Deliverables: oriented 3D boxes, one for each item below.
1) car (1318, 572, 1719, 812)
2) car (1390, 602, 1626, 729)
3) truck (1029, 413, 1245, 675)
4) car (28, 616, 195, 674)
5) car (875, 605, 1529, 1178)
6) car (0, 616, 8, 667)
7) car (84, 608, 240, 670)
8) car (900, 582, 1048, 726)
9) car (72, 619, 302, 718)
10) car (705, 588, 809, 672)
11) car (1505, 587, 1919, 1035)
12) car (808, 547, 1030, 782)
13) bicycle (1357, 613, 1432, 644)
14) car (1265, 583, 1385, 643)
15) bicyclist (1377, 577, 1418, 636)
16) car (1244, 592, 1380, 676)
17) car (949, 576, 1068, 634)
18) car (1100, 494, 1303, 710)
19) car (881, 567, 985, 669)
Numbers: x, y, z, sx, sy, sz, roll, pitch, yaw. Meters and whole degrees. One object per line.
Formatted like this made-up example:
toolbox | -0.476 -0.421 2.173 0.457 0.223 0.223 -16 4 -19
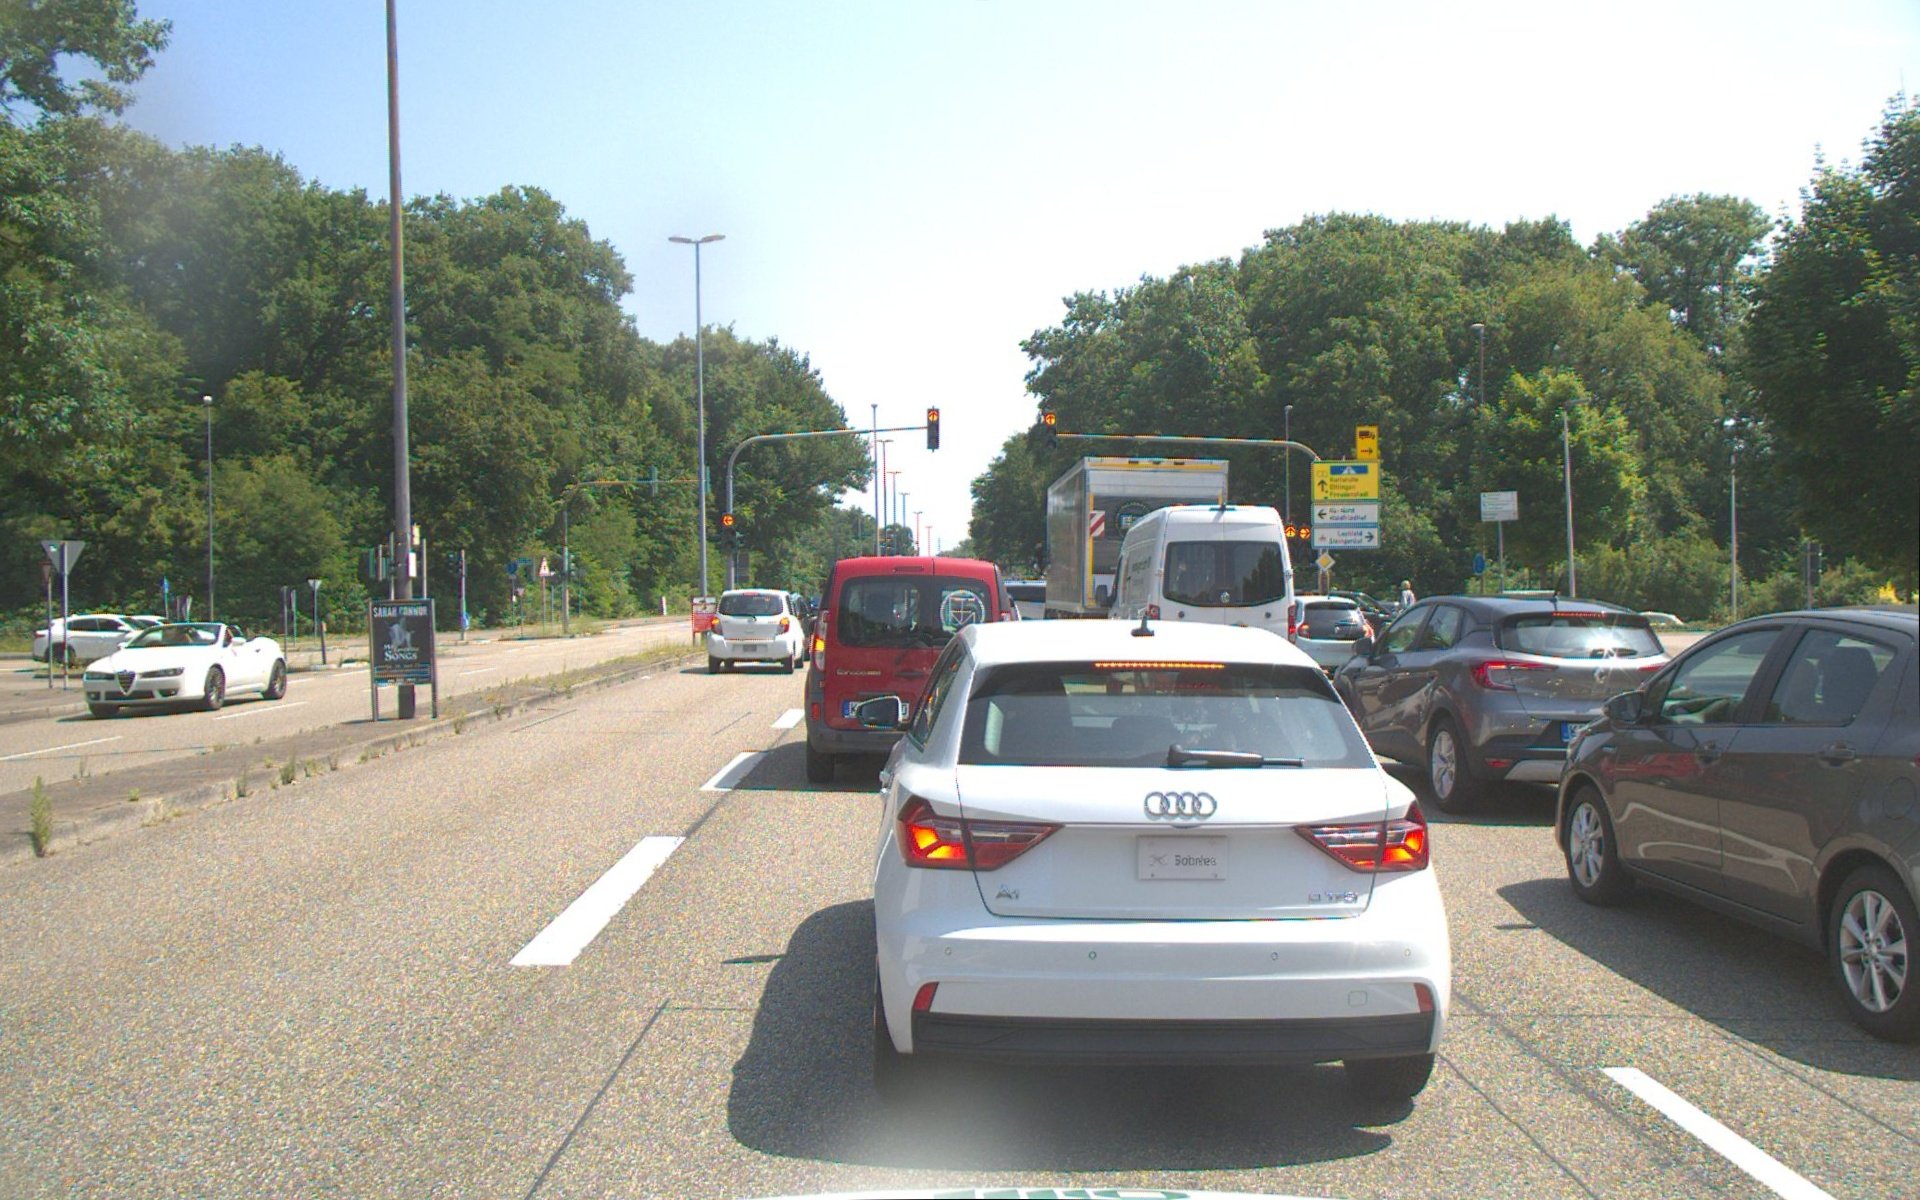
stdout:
car | 4.222 0.613 13.226 1.677 1.621 4.090 0 0 -3
car | 6.896 0.759 21.253 1.604 1.395 4.145 1 1 -1
truck | 3.315 -0.995 34.440 3.026 4.511 11.577 1 0 -1
car | -26.748 1.409 52.267 4.290 1.711 1.807 1 -1 -9
car | 0.536 0.743 6.257 1.677 1.410 4.090 0 0 -3
car | -34.473 1.358 55.149 4.294 1.711 1.805 1 -1 -13
car | -27.009 1.293 56.082 4.291 1.710 1.807 -4 0 -9
car | 0.086 0.611 21.114 1.677 1.660 4.090 0 0 -3
car | -12.135 1.024 26.281 1.683 1.284 4.300 -3 0 -2
car | -3.879 0.540 32.078 1.677 1.519 4.090 0 0 -3
car | 4.013 0.741 7.272 1.678 1.504 4.090 3 0 -3
car | -0.400 0.479 14.581 1.677 1.779 4.090 0 0 -3
bicycle | 11.110 0.729 42.315 1.795 0.779 0.597 -1 0 43
car | 12.923 0.451 58.720 3.902 2.049 2.001 -1 0 6
bicyclist | 11.178 0.166 42.246 0.815 1.464 0.595 -1 0 43
car | 6.903 0.626 32.846 1.677 1.573 4.090 0 0 -3
car | 1.774 0.179 60.552 3.918 2.049 1.993 -1 0 35
car | 3.223 0.018 23.062 1.990 2.690 4.843 0 0 -2
car | -0.530 0.282 28.880 1.677 1.660 4.090 0 0 -3
